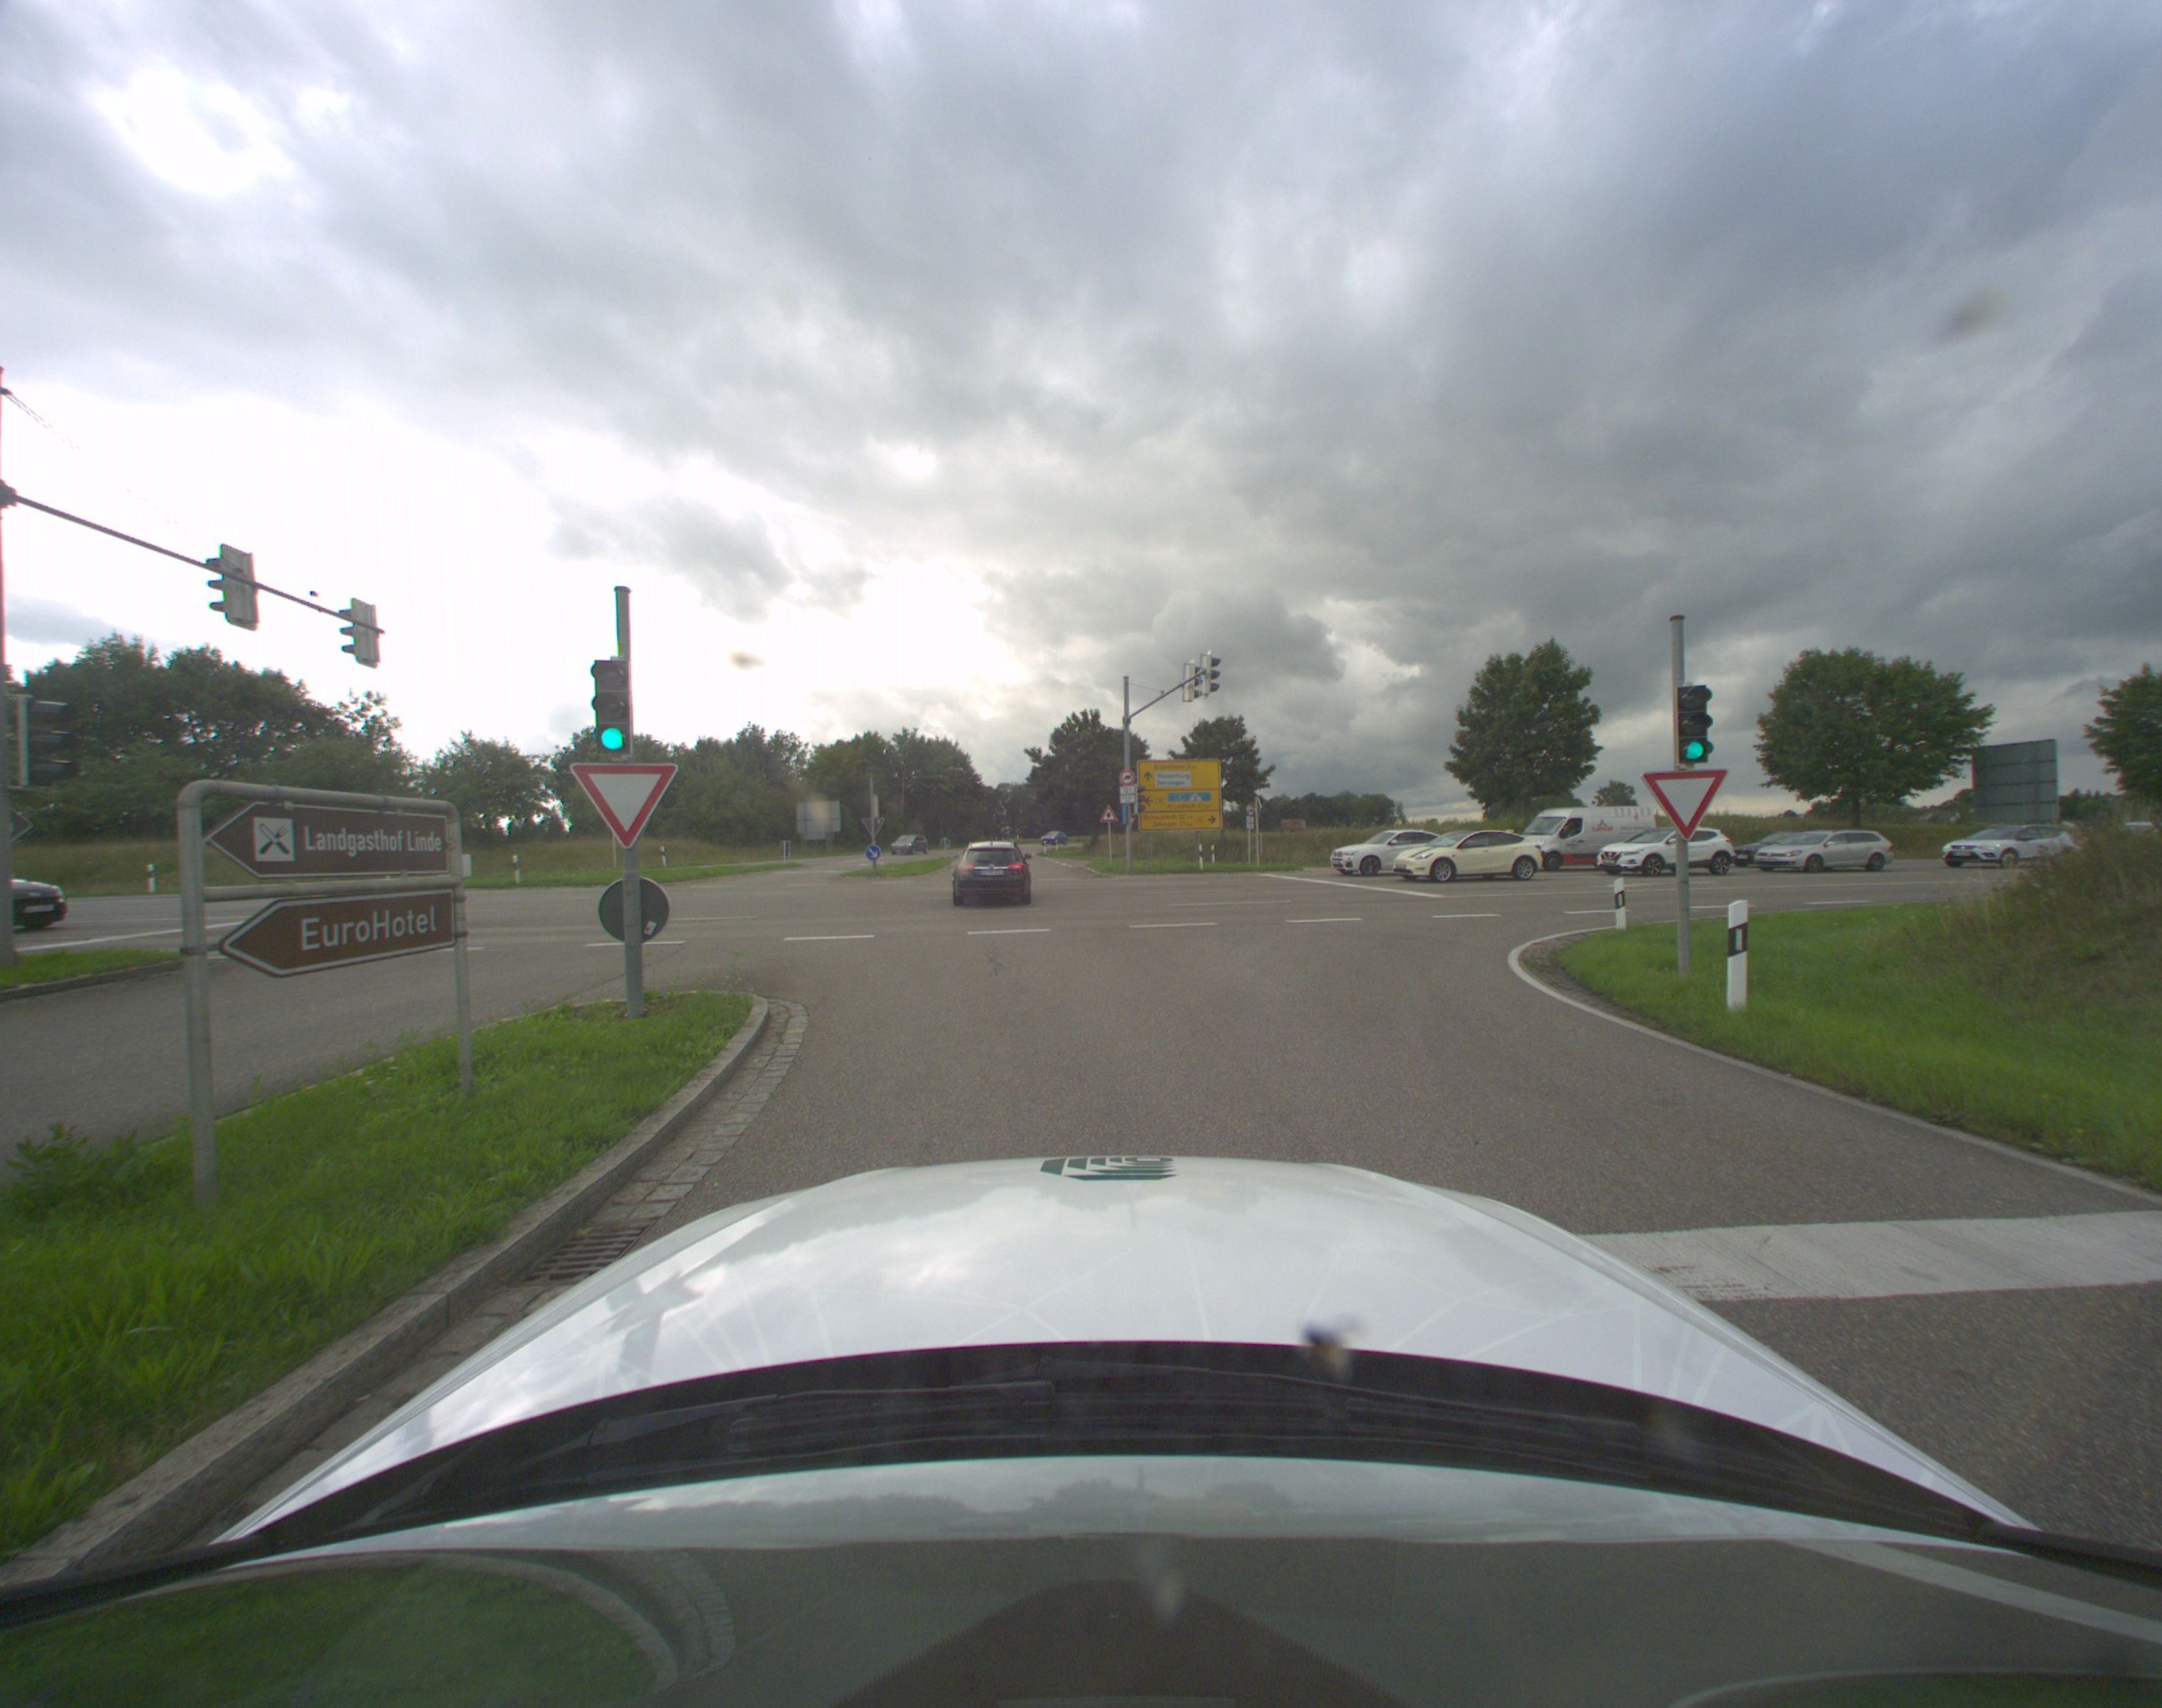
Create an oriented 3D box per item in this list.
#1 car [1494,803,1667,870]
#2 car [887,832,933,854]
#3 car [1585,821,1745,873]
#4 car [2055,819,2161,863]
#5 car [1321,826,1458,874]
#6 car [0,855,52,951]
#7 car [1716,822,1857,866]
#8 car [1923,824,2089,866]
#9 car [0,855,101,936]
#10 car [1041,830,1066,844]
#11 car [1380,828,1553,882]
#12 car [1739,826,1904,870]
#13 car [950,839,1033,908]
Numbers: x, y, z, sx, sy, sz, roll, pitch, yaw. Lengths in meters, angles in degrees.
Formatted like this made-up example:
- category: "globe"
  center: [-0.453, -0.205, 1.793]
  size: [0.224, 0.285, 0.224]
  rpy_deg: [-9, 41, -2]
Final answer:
- category: "car"
  center: [19.341, -0.662, 31.666]
  size: [5.494, 2.441, 2.391]
  rpy_deg: [-1, 0, -10]
- category: "car"
  center: [-12.767, -0.805, 60.969]
  size: [1.981, 1.535, 4.012]
  rpy_deg: [-1, 0, 10]
- category: "car"
  center: [19.755, -0.225, 27.629]
  size: [4.309, 1.629, 1.993]
  rpy_deg: [-1, 0, -10]
- category: "car"
  center: [40.025, -0.532, 30.932]
  size: [4.433, 1.592, 1.993]
  rpy_deg: [-1, 1, -11]
- category: "car"
  center: [11.248, -0.149, 29.821]
  size: [4.262, 1.629, 1.993]
  rpy_deg: [-1, 0, -11]
- category: "car"
  center: [-19.820, 0.846, 12.285]
  size: [5.114, 1.535, 2.043]
  rpy_deg: [-1, 1, -13]
- category: "car"
  center: [28.016, -0.391, 32.390]
  size: [4.261, 1.629, 1.993]
  rpy_deg: [-1, 0, -10]
- category: "car"
  center: [33.943, -0.346, 29.938]
  size: [4.431, 1.418, 1.994]
  rpy_deg: [-1, 1, -9]
- category: "car"
  center: [-21.964, 0.801, 15.532]
  size: [3.931, 1.443, 1.726]
  rpy_deg: [-1, 1, -10]
- category: "car"
  center: [-3.337, -2.083, 98.981]
  size: [1.980, 1.570, 4.772]
  rpy_deg: [-1, 1, 12]
- category: "car"
  center: [12.266, 0.021, 26.032]
  size: [4.733, 1.565, 1.993]
  rpy_deg: [-1, 0, -10]
- category: "car"
  center: [26.098, -0.233, 28.755]
  size: [4.567, 1.454, 1.993]
  rpy_deg: [-1, 1, -11]
- category: "car"
  center: [-2.183, 0.395, 20.164]
  size: [1.805, 1.450, 4.265]
  rpy_deg: [-1, 2, -6]
